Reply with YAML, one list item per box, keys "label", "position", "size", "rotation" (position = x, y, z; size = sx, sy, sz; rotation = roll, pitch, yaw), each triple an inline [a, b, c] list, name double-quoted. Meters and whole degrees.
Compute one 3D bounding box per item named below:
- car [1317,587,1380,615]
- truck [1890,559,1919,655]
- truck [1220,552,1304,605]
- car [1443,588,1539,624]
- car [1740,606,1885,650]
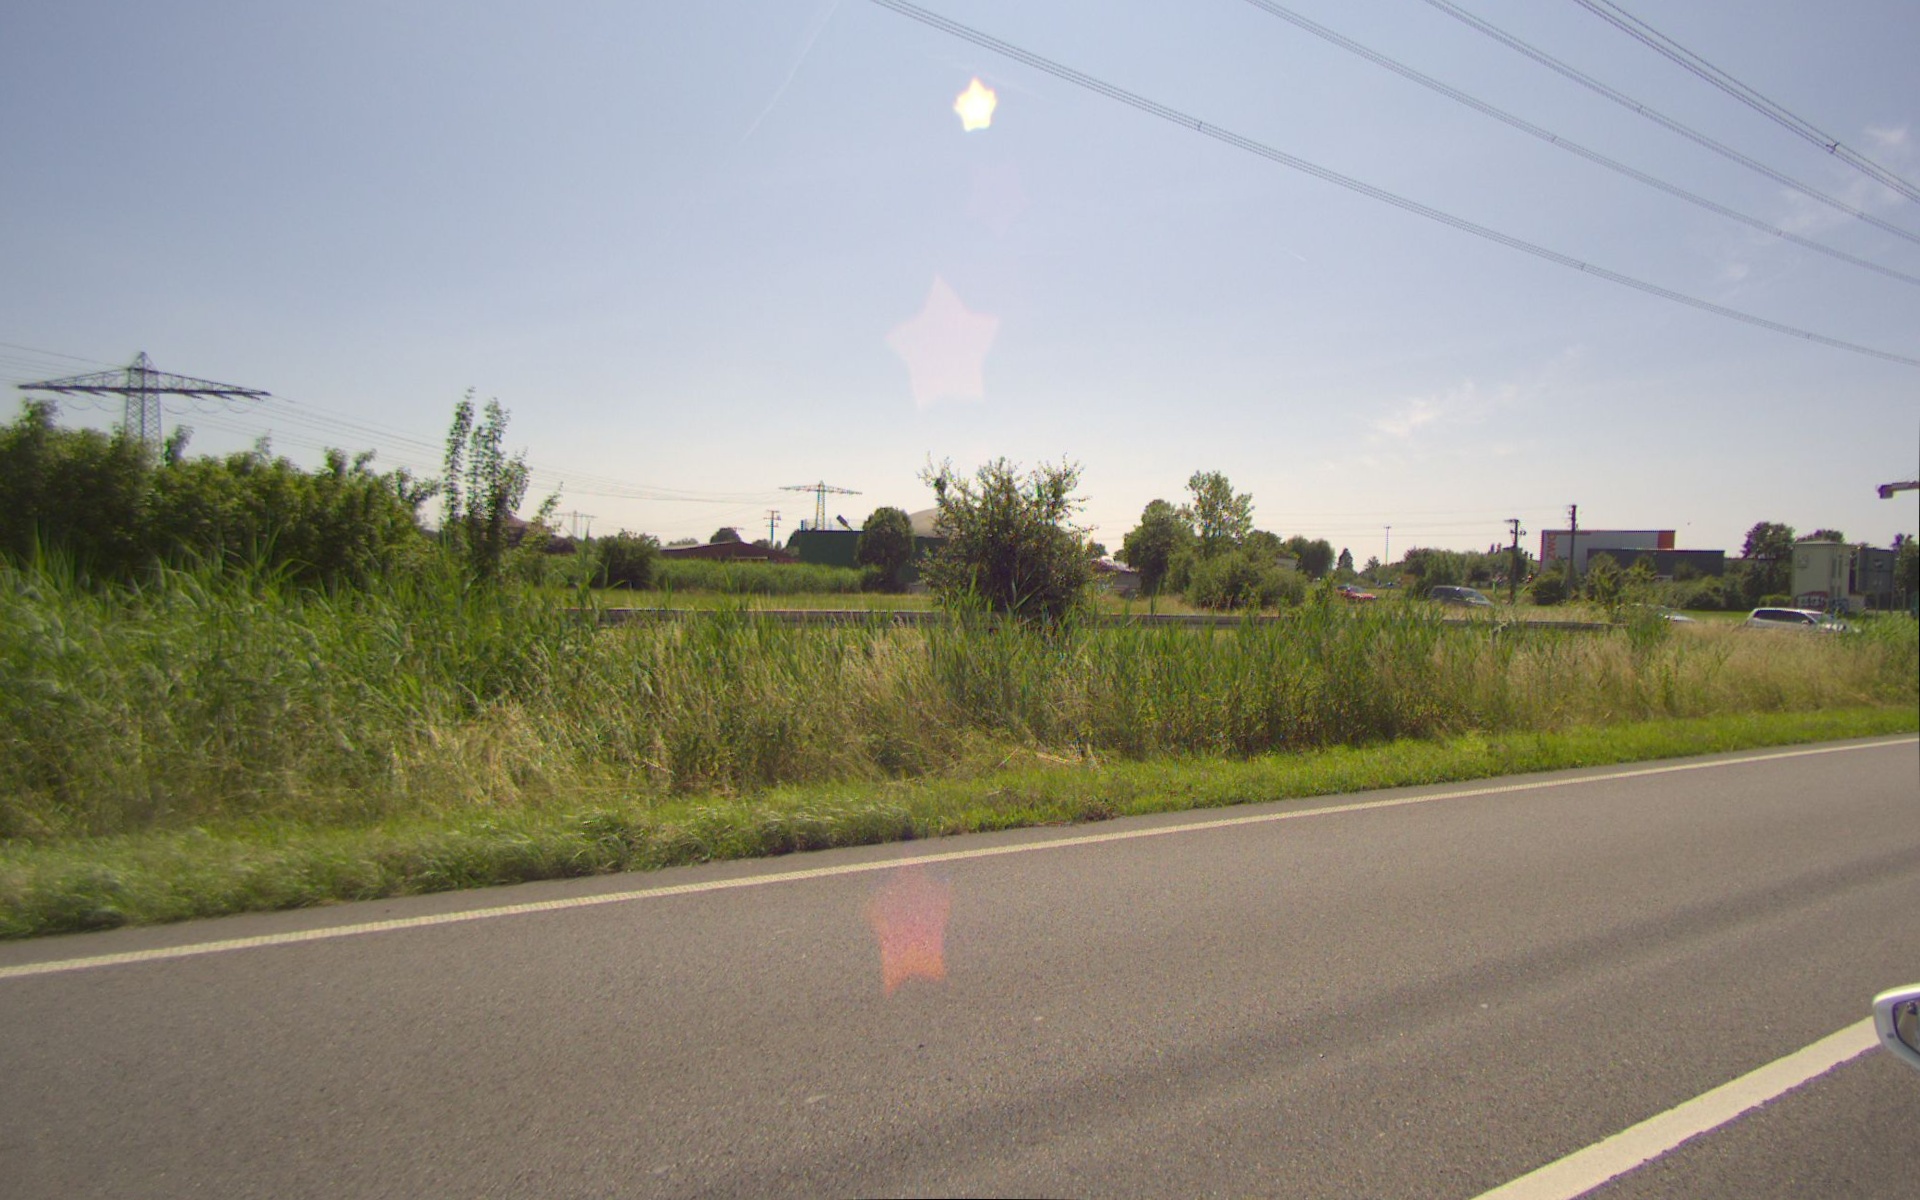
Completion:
- label: "car"
  position: [27.977, 0.044, 72.557]
  size: [1.884, 1.874, 4.467]
  rotation: [2, 2, -16]
- label: "truck"
  position: [40.548, 0.485, 37.620]
  size: [2.466, 3.785, 7.875]
  rotation: [2, 2, -26]
- label: "truck"
  position: [29.286, -2.071, 98.352]
  size: [3.619, 4.708, 13.234]
  rotation: [2, 1, -2]
- label: "car"
  position: [31.665, 0.329, 60.080]
  size: [2.057, 1.893, 4.928]
  rotation: [0, 2, -20]
- label: "car"
  position: [37.358, 1.196, 44.191]
  size: [1.935, 1.634, 4.541]
  rotation: [2, 2, -15]
